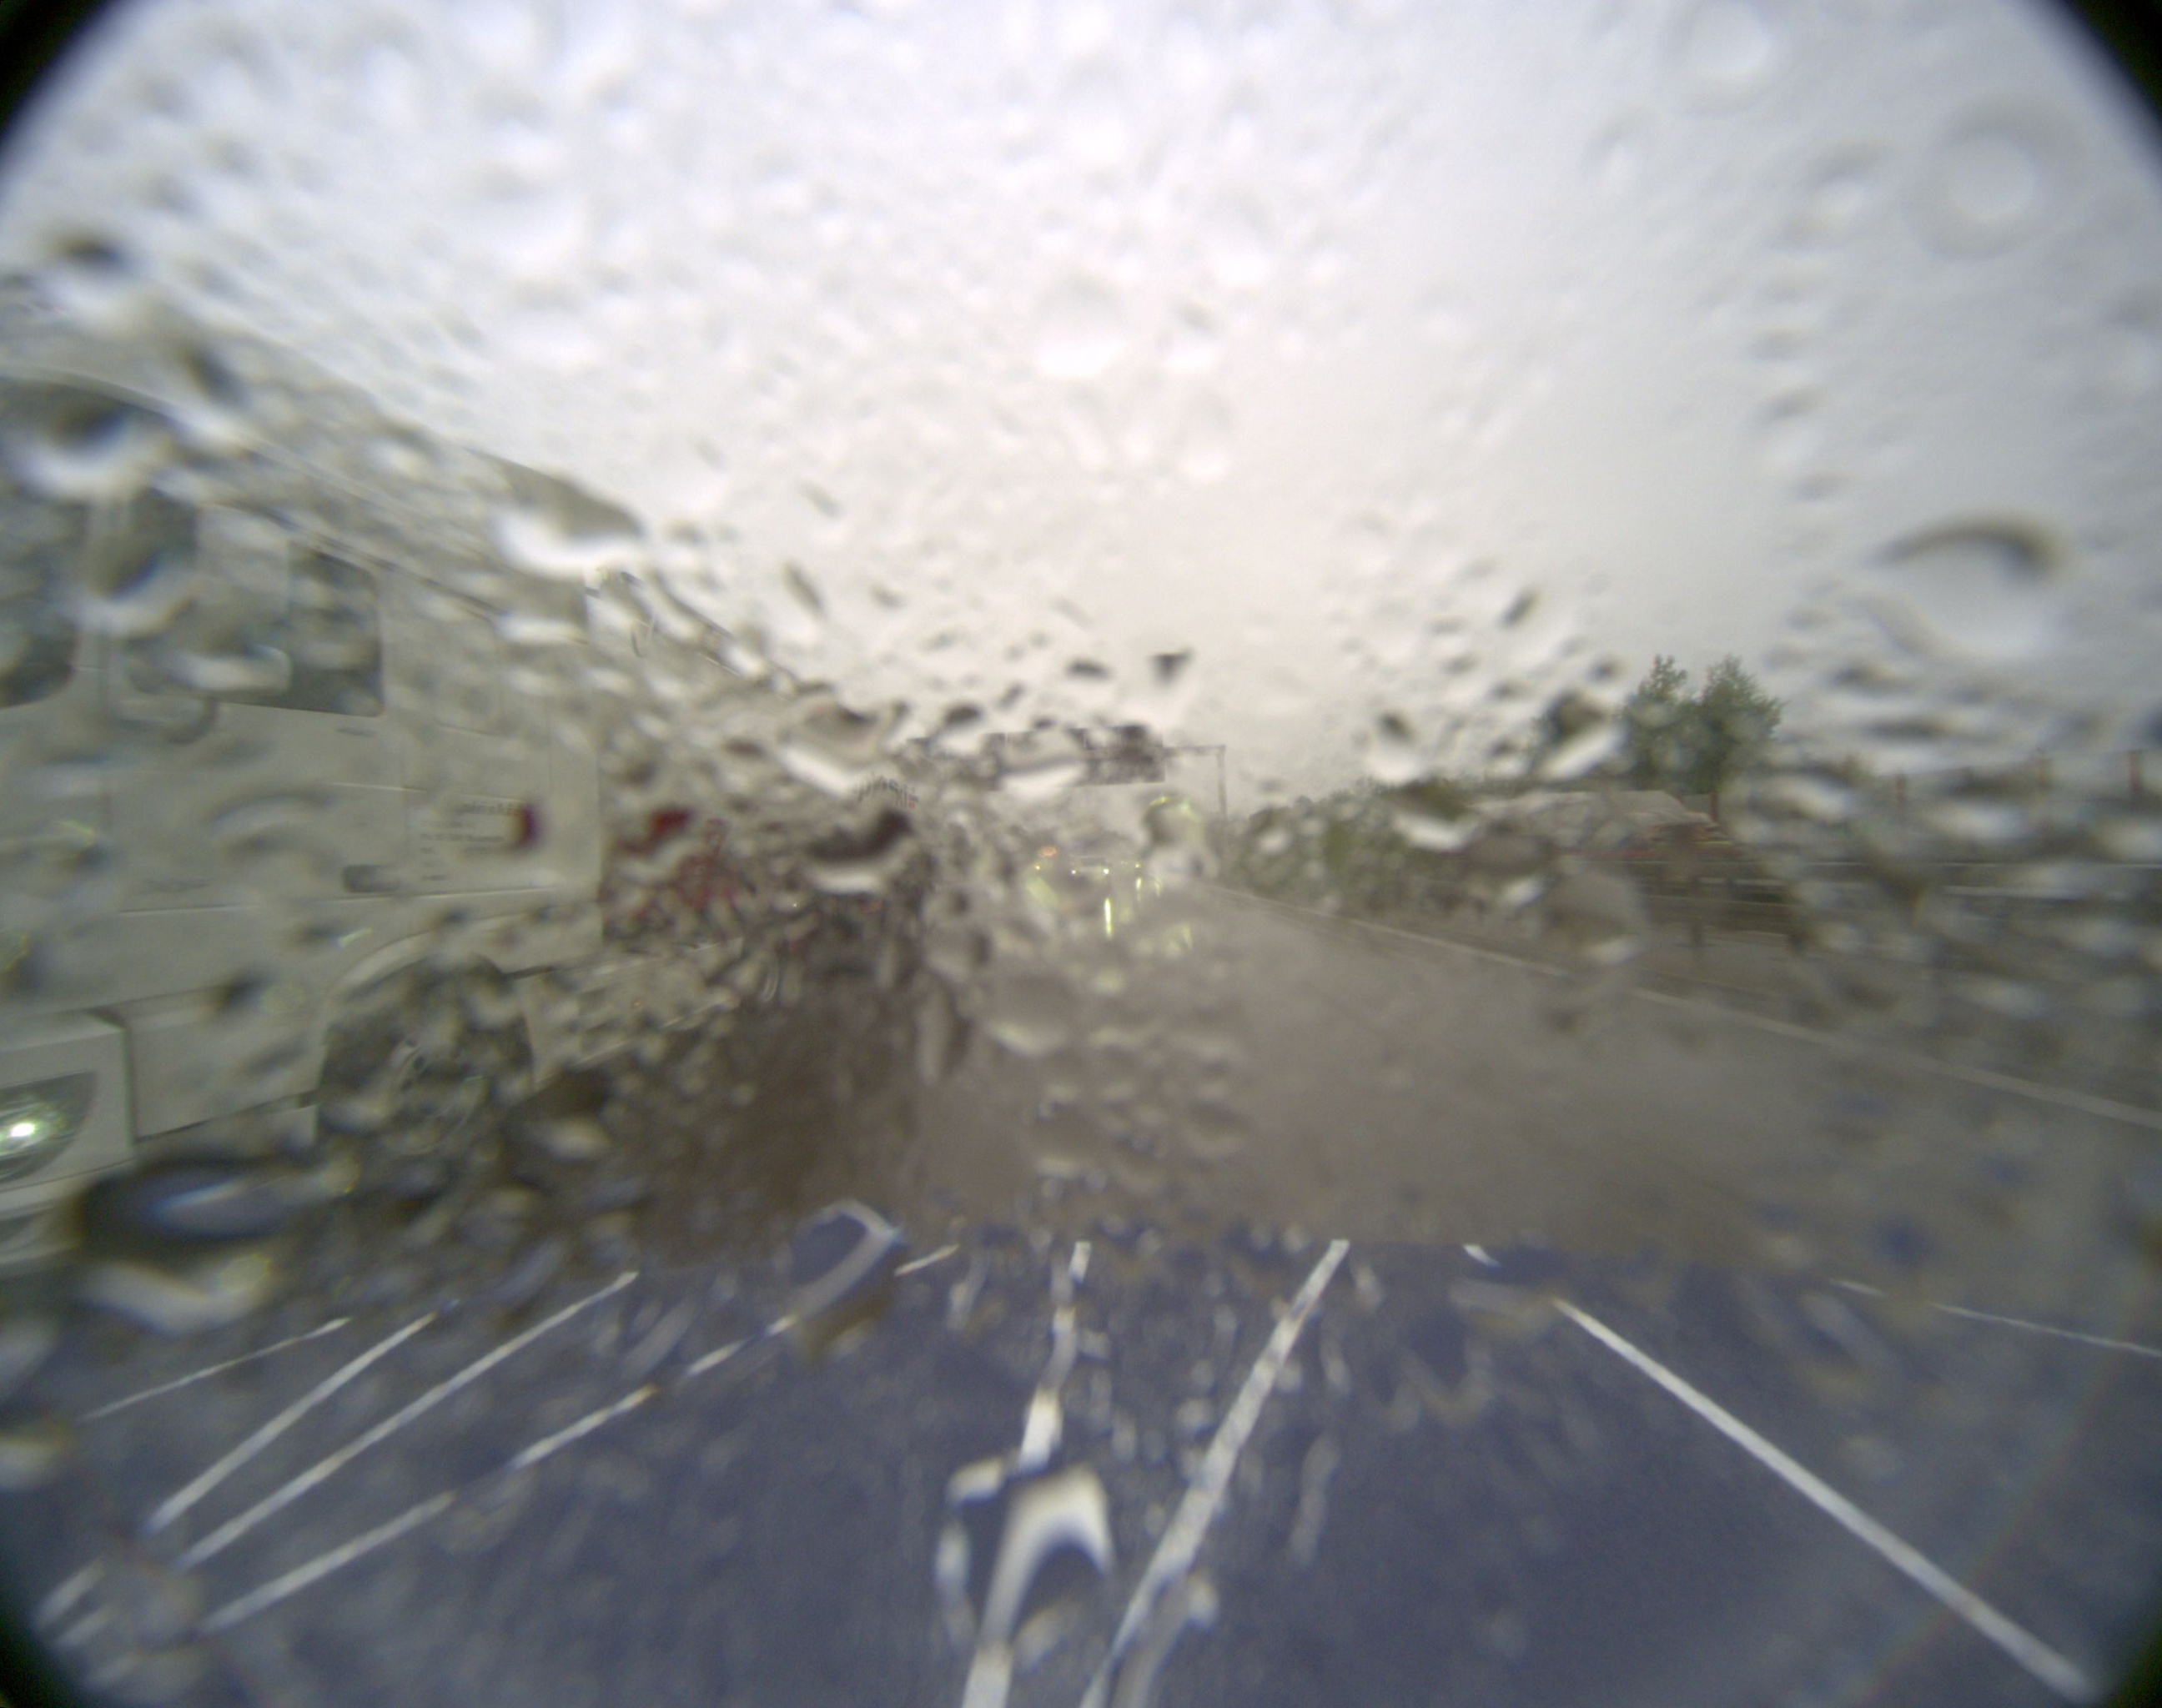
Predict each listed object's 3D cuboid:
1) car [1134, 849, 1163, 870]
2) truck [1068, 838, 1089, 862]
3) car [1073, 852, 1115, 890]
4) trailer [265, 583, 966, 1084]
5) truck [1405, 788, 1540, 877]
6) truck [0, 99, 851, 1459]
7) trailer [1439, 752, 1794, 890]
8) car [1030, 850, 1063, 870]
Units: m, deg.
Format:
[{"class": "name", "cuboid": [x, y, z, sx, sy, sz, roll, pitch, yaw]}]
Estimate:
[{"class": "car", "cuboid": [5.244, 0.438, 59.367, 1.900, 1.533, 4.090, -2, 0, 0]}, {"class": "truck", "cuboid": [-0.434, -0.748, 135.543, 2.754, 4.054, 6.485, -2, 0, 6]}, {"class": "car", "cuboid": [0.649, 0.749, 35.520, 1.751, 1.545, 4.090, -3, 0, 2]}, {"class": "trailer", "cuboid": [-4.425, -0.168, 11.616, 3.196, 3.648, 11.666, -3, 0, 1]}, {"class": "truck", "cuboid": [17.506, -0.904, 34.479, 2.989, 3.578, 5.999, -2, 0, 0]}, {"class": "truck", "cuboid": [-4.500, -0.203, 5.609, 3.112, 3.784, 7.212, -3, 0, 1]}, {"class": "trailer", "cuboid": [17.502, -0.909, 27.082, 3.080, 3.591, 13.569, -2, 0, 0]}, {"class": "car", "cuboid": [-3.204, 0.579, 72.160, 2.463, 1.736, 5.720, -2, 0, 3]}]
